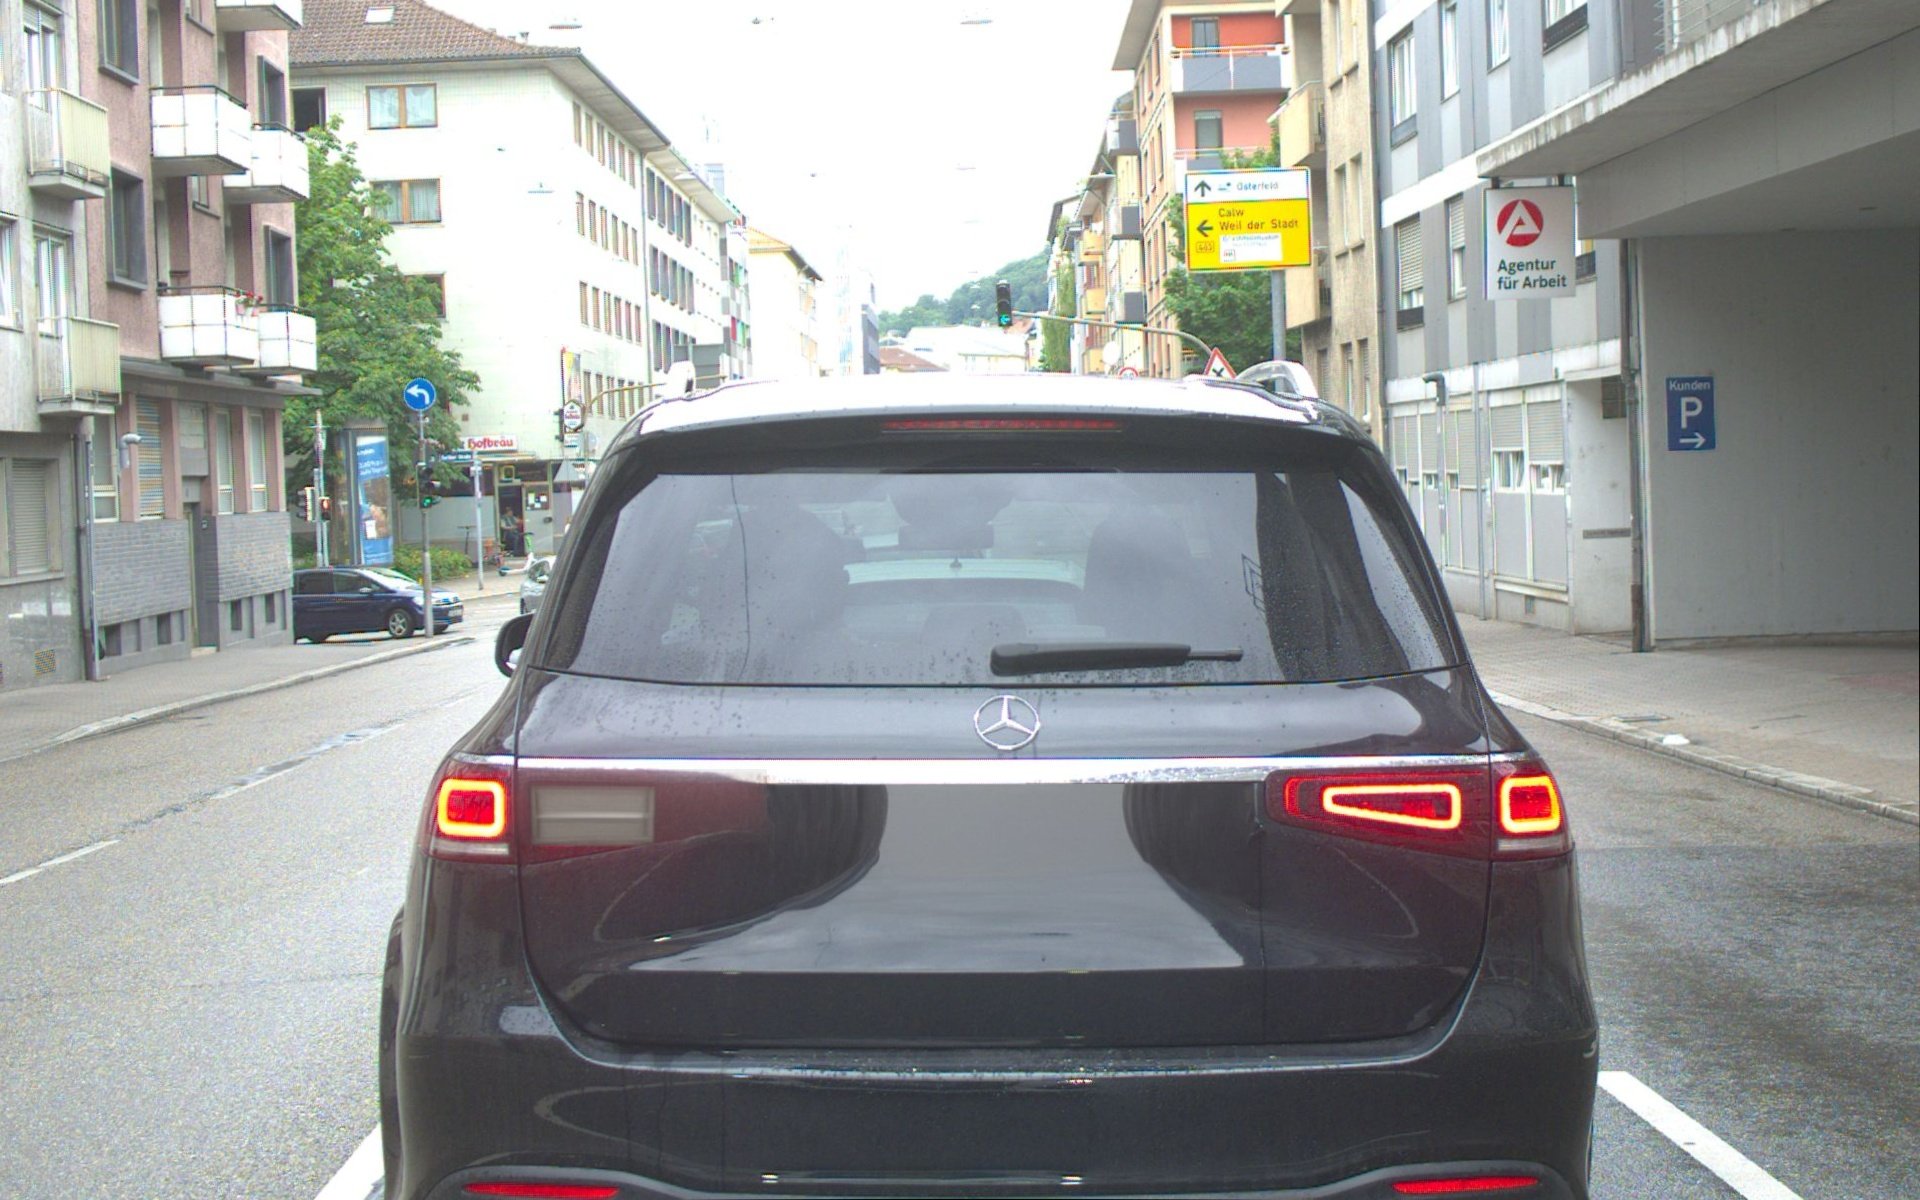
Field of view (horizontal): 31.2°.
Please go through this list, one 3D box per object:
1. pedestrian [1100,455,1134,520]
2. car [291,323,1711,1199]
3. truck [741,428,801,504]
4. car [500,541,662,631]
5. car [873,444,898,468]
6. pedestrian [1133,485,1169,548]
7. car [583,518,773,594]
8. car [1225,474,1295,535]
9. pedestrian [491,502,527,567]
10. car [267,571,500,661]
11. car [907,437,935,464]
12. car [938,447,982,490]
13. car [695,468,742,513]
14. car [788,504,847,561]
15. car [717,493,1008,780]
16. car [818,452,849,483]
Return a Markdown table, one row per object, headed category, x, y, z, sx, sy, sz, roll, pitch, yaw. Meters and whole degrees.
| category | x | y | z | sx | sy | sz | roll | pitch | yaw |
| --- | --- | --- | --- | --- | --- | --- | --- | --- | --- |
| pedestrian | 4.893 | -3.502 | 107.306 | 0.923 | 2.007 | 0.706 | -2 | 1 | -2 |
| car | 0.030 | 0.502 | 7.042 | 1.985 | 1.799 | 4.390 | 1 | 1 | -1 |
| truck | -8.603 | -6.081 | 157.027 | 2.479 | 3.035 | 9.921 | -3 | 1 | -3 |
| car | -7.263 | -0.247 | 65.496 | 1.772 | 1.534 | 4.359 | -4 | 1 | -23 |
| car | -5.429 | -10.468 | 250.059 | 1.618 | 1.534 | 4.218 | -3 | 1 | -3 |
| pedestrian | 5.604 | -2.458 | 100.817 | 0.923 | 1.798 | 0.706 | -2 | 1 | -2 |
| car | -6.597 | -1.023 | 80.187 | 4.213 | 1.534 | 1.817 | -3 | 1 | 38 |
| car | 8.226 | -2.617 | 94.508 | 1.671 | 1.583 | 3.330 | -2 | 1 | 2 |
| pedestrian | -13.386 | -1.946 | 102.033 | 0.923 | 1.895 | 0.706 | -2 | 1 | -2 |
| car | -12.085 | 0.330 | 72.213 | 4.354 | 1.700 | 1.999 | -2 | 1 | 10 |
| car | -2.594 | -9.978 | 229.902 | 1.618 | 1.534 | 4.218 | -3 | 1 | -3 |
| car | -0.010 | -6.105 | 159.814 | 1.723 | 1.754 | 4.218 | -3 | 0 | -3 |
| car | -9.221 | -4.194 | 131.614 | 1.618 | 1.534 | 4.218 | -3 | 1 | -3 |
| car | -4.223 | -1.979 | 101.241 | 1.618 | 1.534 | 4.218 | -3 | 1 | -3 |
| car | -0.702 | 0.206 | 23.291 | 1.751 | 1.725 | 4.218 | -1 | 1 | -3 |
| car | -7.133 | -7.468 | 193.656 | 1.618 | 1.534 | 4.218 | -3 | 1 | -3 |
